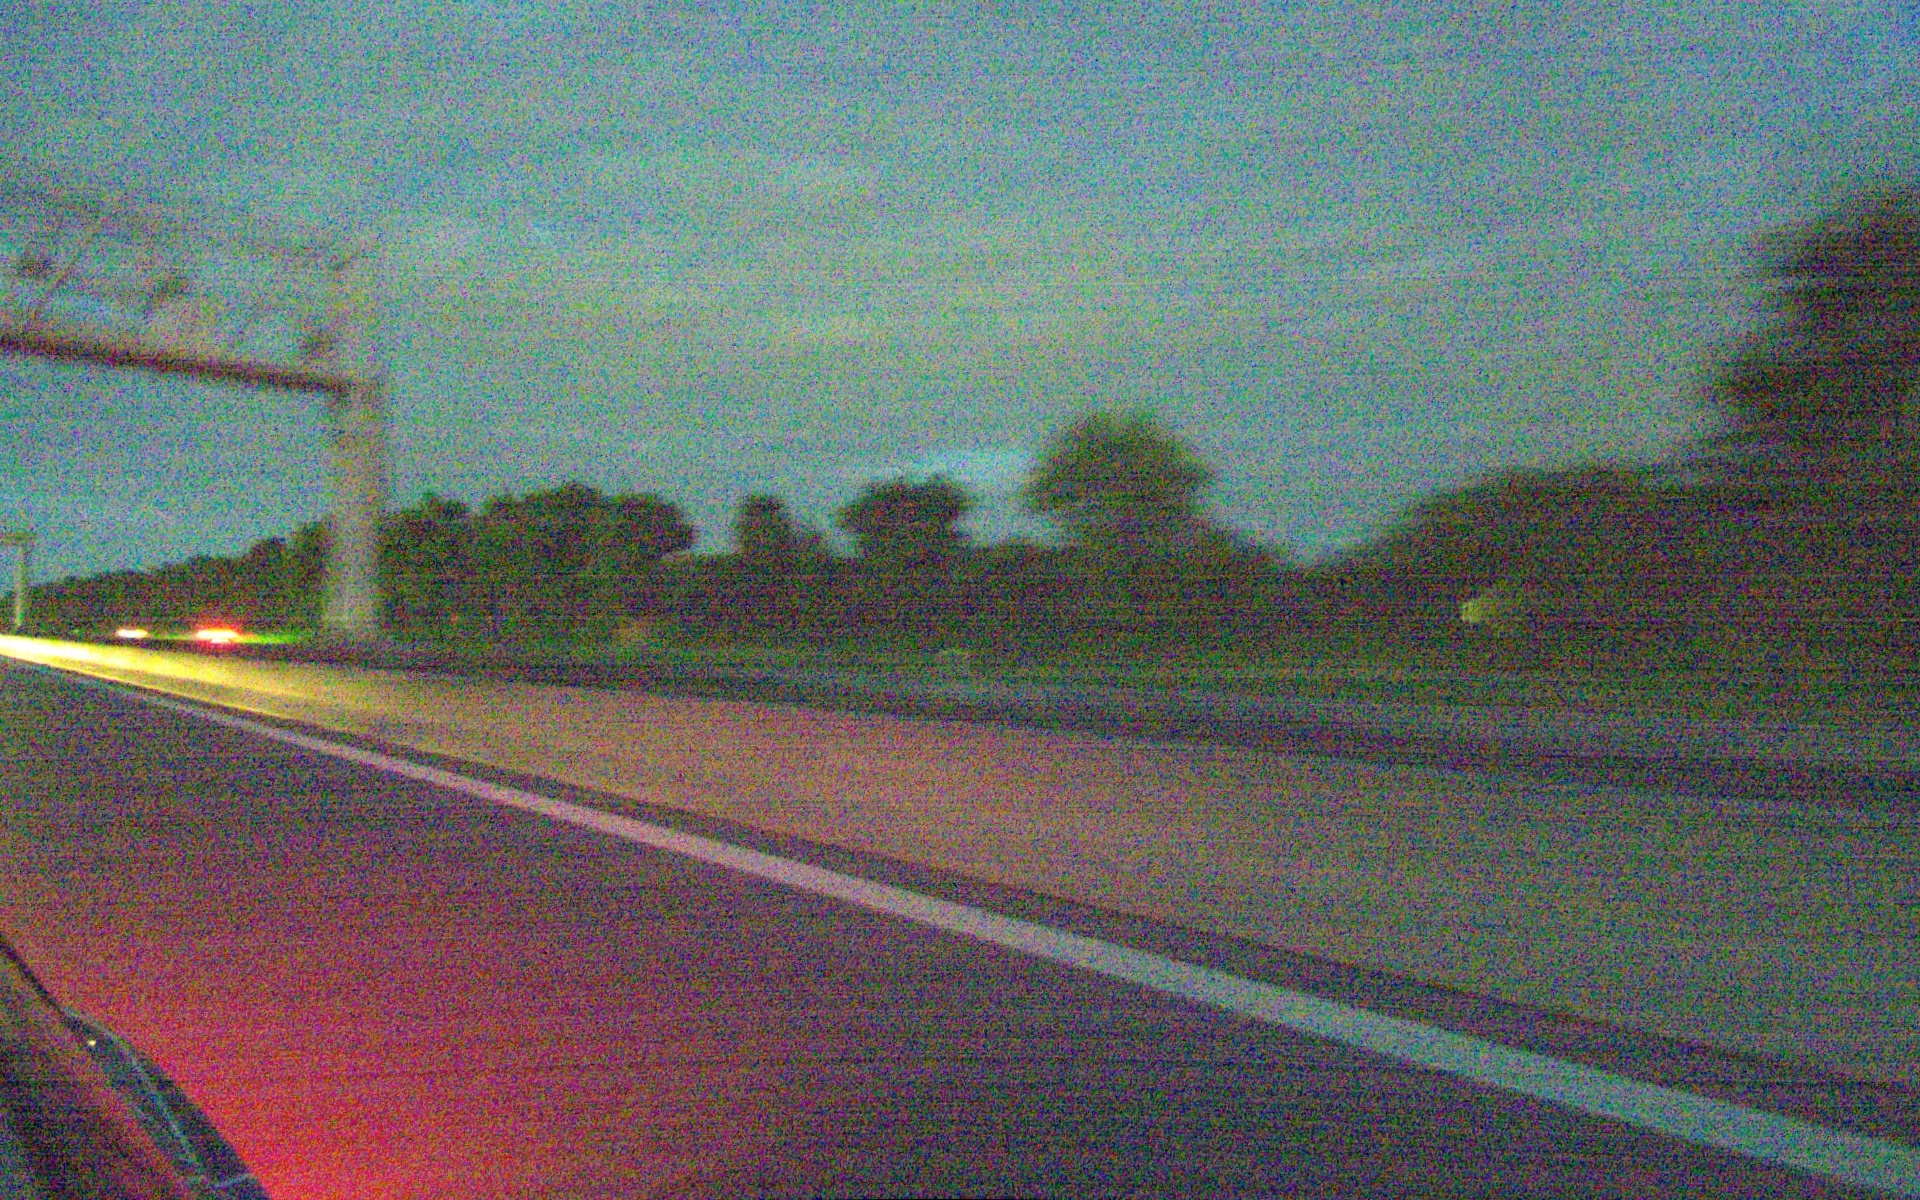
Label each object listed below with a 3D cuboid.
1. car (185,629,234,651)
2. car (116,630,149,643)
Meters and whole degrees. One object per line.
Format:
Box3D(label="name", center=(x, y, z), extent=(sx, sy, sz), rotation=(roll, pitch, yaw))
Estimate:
Box3D(label="car", center=(-54.402, 2.872, 73.338), extent=(5.185, 1.549, 1.942), rotation=(-2, -2, 43))
Box3D(label="car", center=(-80.159, 3.519, 98.047), extent=(4.349, 1.292, 1.882), rotation=(-2, -2, 43))
